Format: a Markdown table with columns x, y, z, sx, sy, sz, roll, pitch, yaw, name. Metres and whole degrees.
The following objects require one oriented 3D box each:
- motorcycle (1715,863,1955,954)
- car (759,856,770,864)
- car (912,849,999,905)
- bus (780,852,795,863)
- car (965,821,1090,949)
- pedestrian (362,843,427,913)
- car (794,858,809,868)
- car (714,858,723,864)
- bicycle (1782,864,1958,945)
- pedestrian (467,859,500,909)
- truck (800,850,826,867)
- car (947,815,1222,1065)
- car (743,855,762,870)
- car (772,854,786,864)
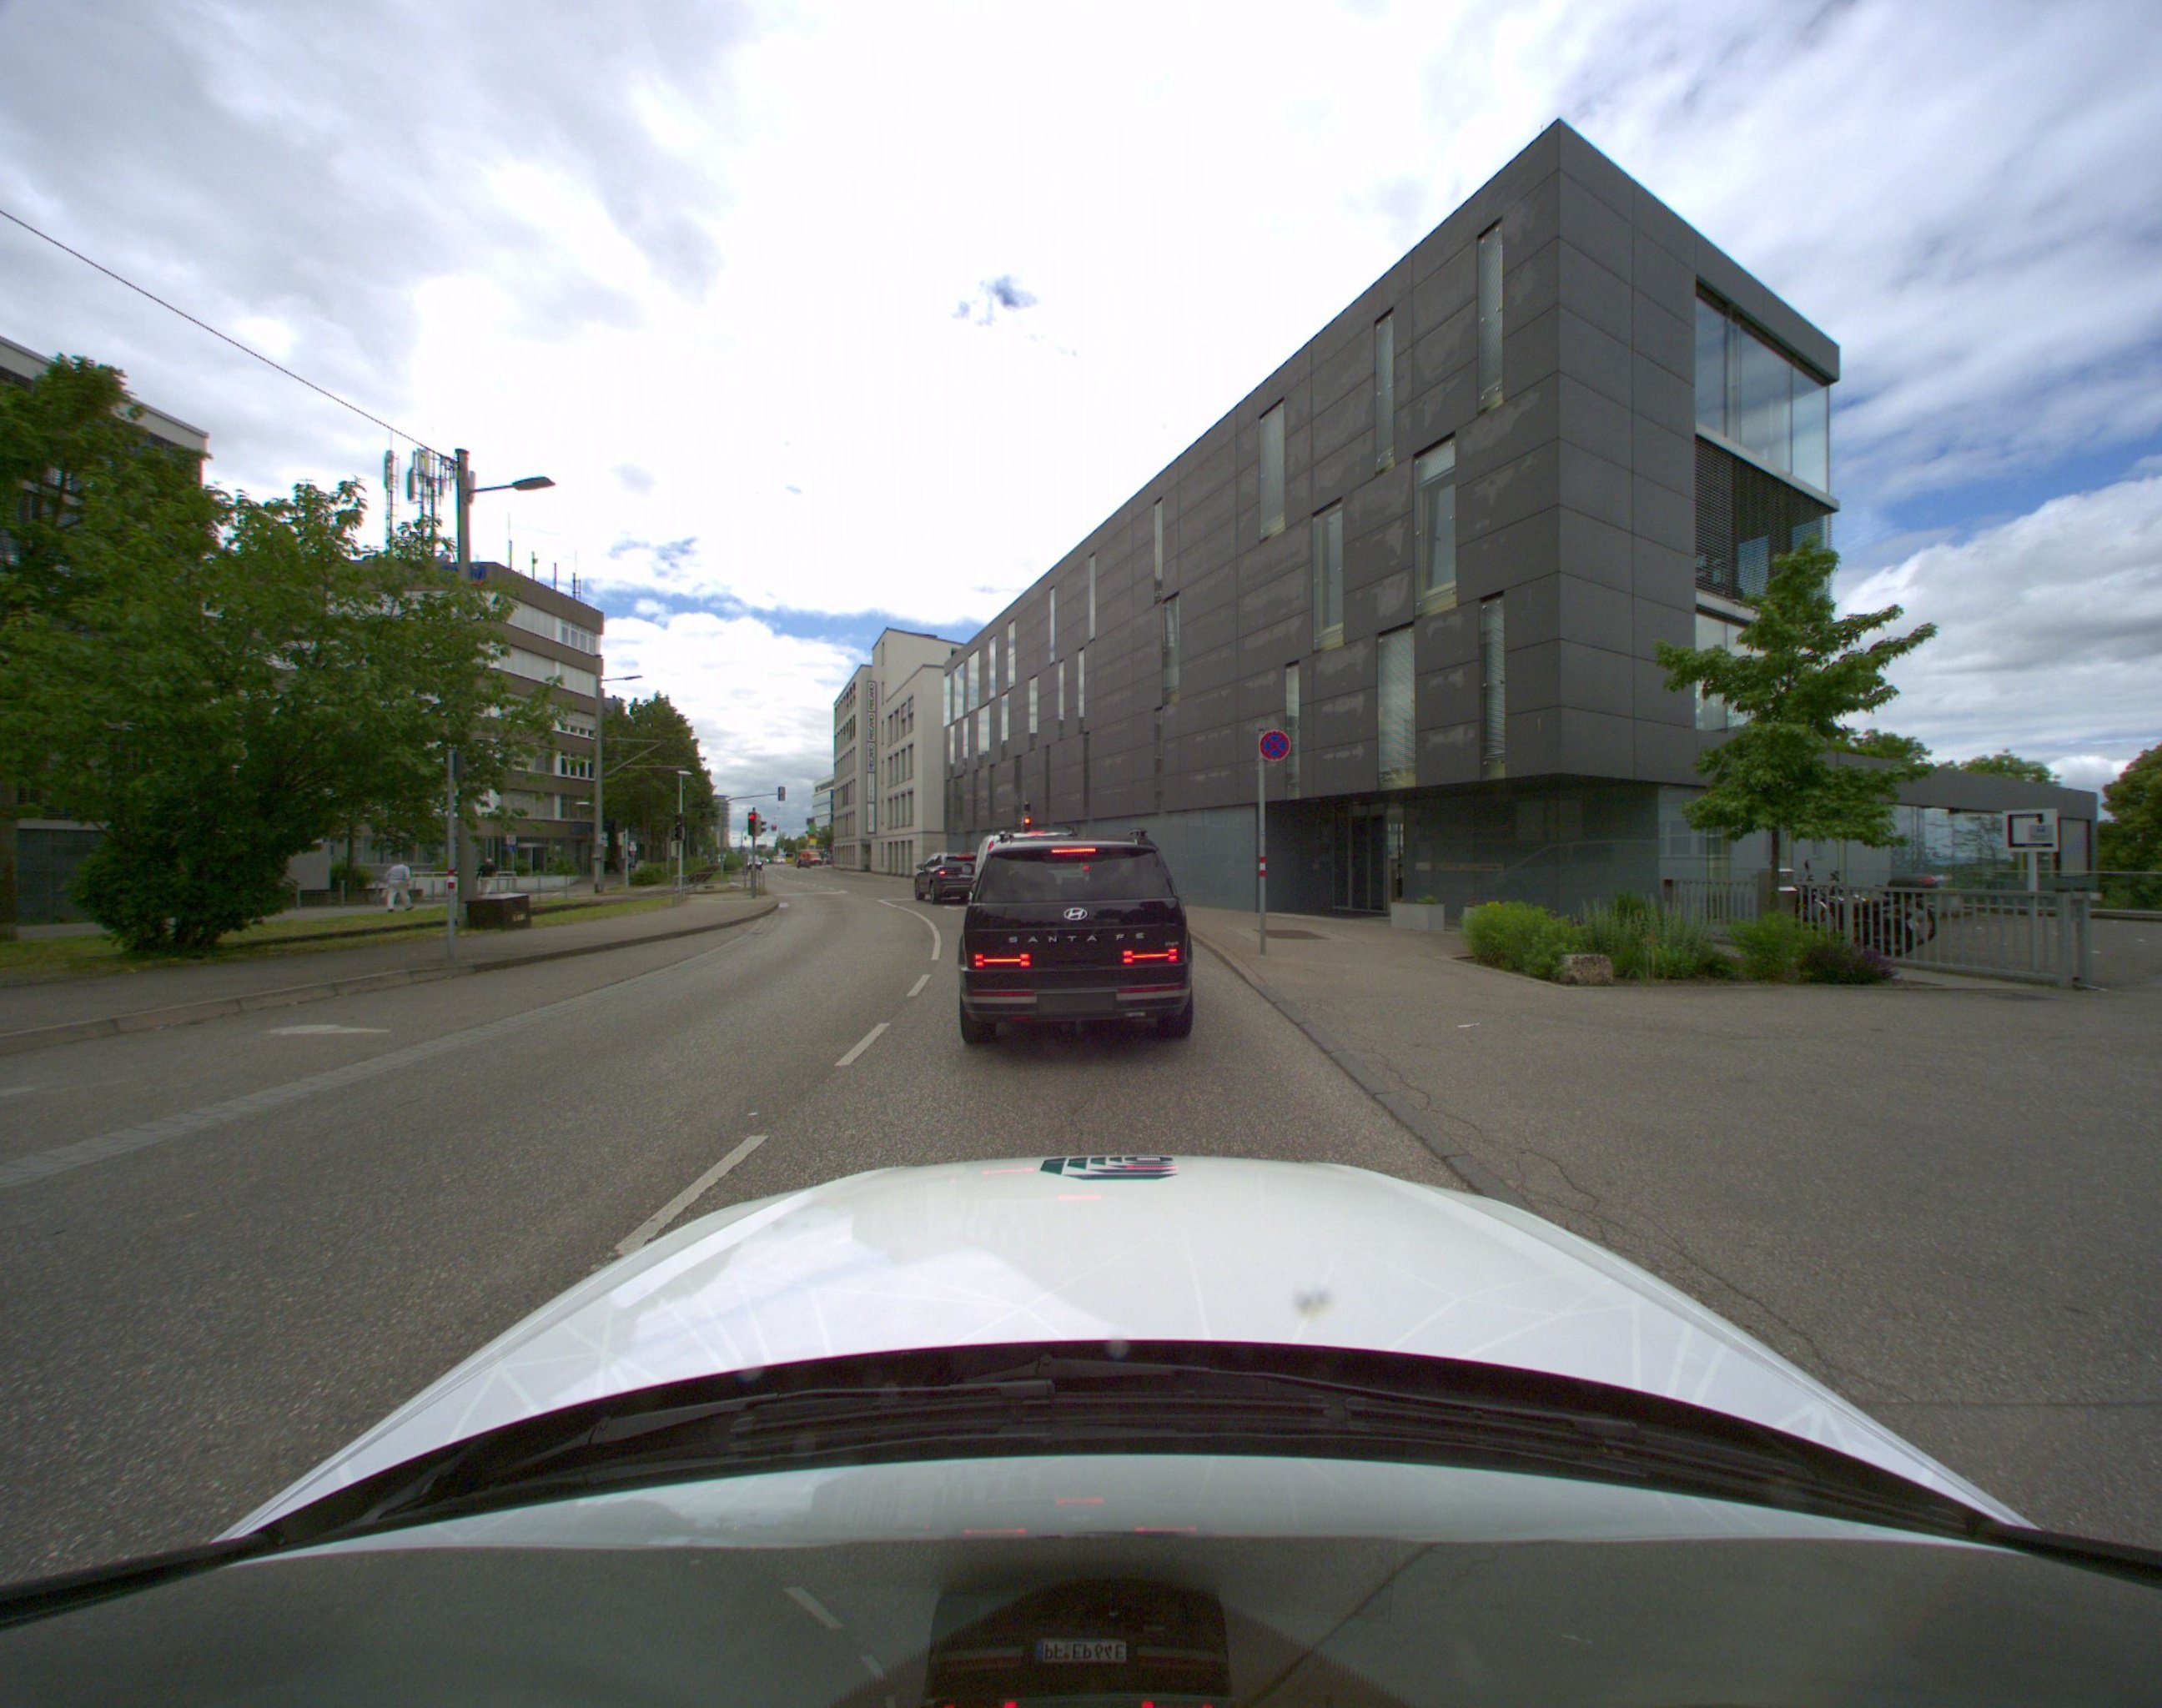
| x | y | z | sx | sy | sz | roll | pitch | yaw | name |
| --- | --- | --- | --- | --- | --- | --- | --- | --- | --- |
| 11.816 | 0.794 | 12.926 | 0.850 | 1.260 | 2.672 | 0 | 0 | -25 | motorcycle |
| -73.503 | 1.364 | 189.055 | 1.927 | 1.725 | 4.131 | 1 | 0 | -30 | car |
| -4.279 | 0.735 | 27.220 | 1.856 | 1.677 | 4.342 | -1 | 0 | -23 | car |
| -81.305 | 0.919 | 225.373 | 3.096 | 2.928 | 10.262 | 1 | 0 | -24 | bus |
| -1.160 | 0.490 | 15.307 | 1.856 | 2.033 | 4.421 | 0 | 0 | -10 | car |
| -20.648 | 0.710 | 24.525 | 1.048 | 2.014 | 0.914 | 2 | -1 | 2 | pedestrian |
| -41.370 | 1.293 | 120.788 | 1.903 | 1.486 | 3.978 | 0 | 0 | -16 | car |
| -96.173 | 1.854 | 216.027 | 1.927 | 1.725 | 4.131 | 1 | 0 | -30 | car |
| 13.434 | 0.819 | 13.961 | 0.617 | 1.260 | 2.085 | 0 | 0 | -25 | bicycle |
| -24.715 | 1.231 | 33.692 | 0.768 | 2.014 | 0.885 | 3 | -1 | -17 | pedestrian |
| -47.940 | 0.805 | 145.456 | 2.592 | 2.825 | 6.915 | 0 | 0 | -34 | truck |
| -0.007 | 0.613 | 7.847 | 1.910 | 1.725 | 4.168 | 1 | 0 | -1 | car |
| -38.299 | 0.981 | 94.912 | 1.861 | 1.695 | 3.966 | 0 | 0 | -26 | car |
| -60.348 | 0.988 | 162.781 | 1.927 | 1.725 | 4.131 | 1 | 0 | -30 | car |
